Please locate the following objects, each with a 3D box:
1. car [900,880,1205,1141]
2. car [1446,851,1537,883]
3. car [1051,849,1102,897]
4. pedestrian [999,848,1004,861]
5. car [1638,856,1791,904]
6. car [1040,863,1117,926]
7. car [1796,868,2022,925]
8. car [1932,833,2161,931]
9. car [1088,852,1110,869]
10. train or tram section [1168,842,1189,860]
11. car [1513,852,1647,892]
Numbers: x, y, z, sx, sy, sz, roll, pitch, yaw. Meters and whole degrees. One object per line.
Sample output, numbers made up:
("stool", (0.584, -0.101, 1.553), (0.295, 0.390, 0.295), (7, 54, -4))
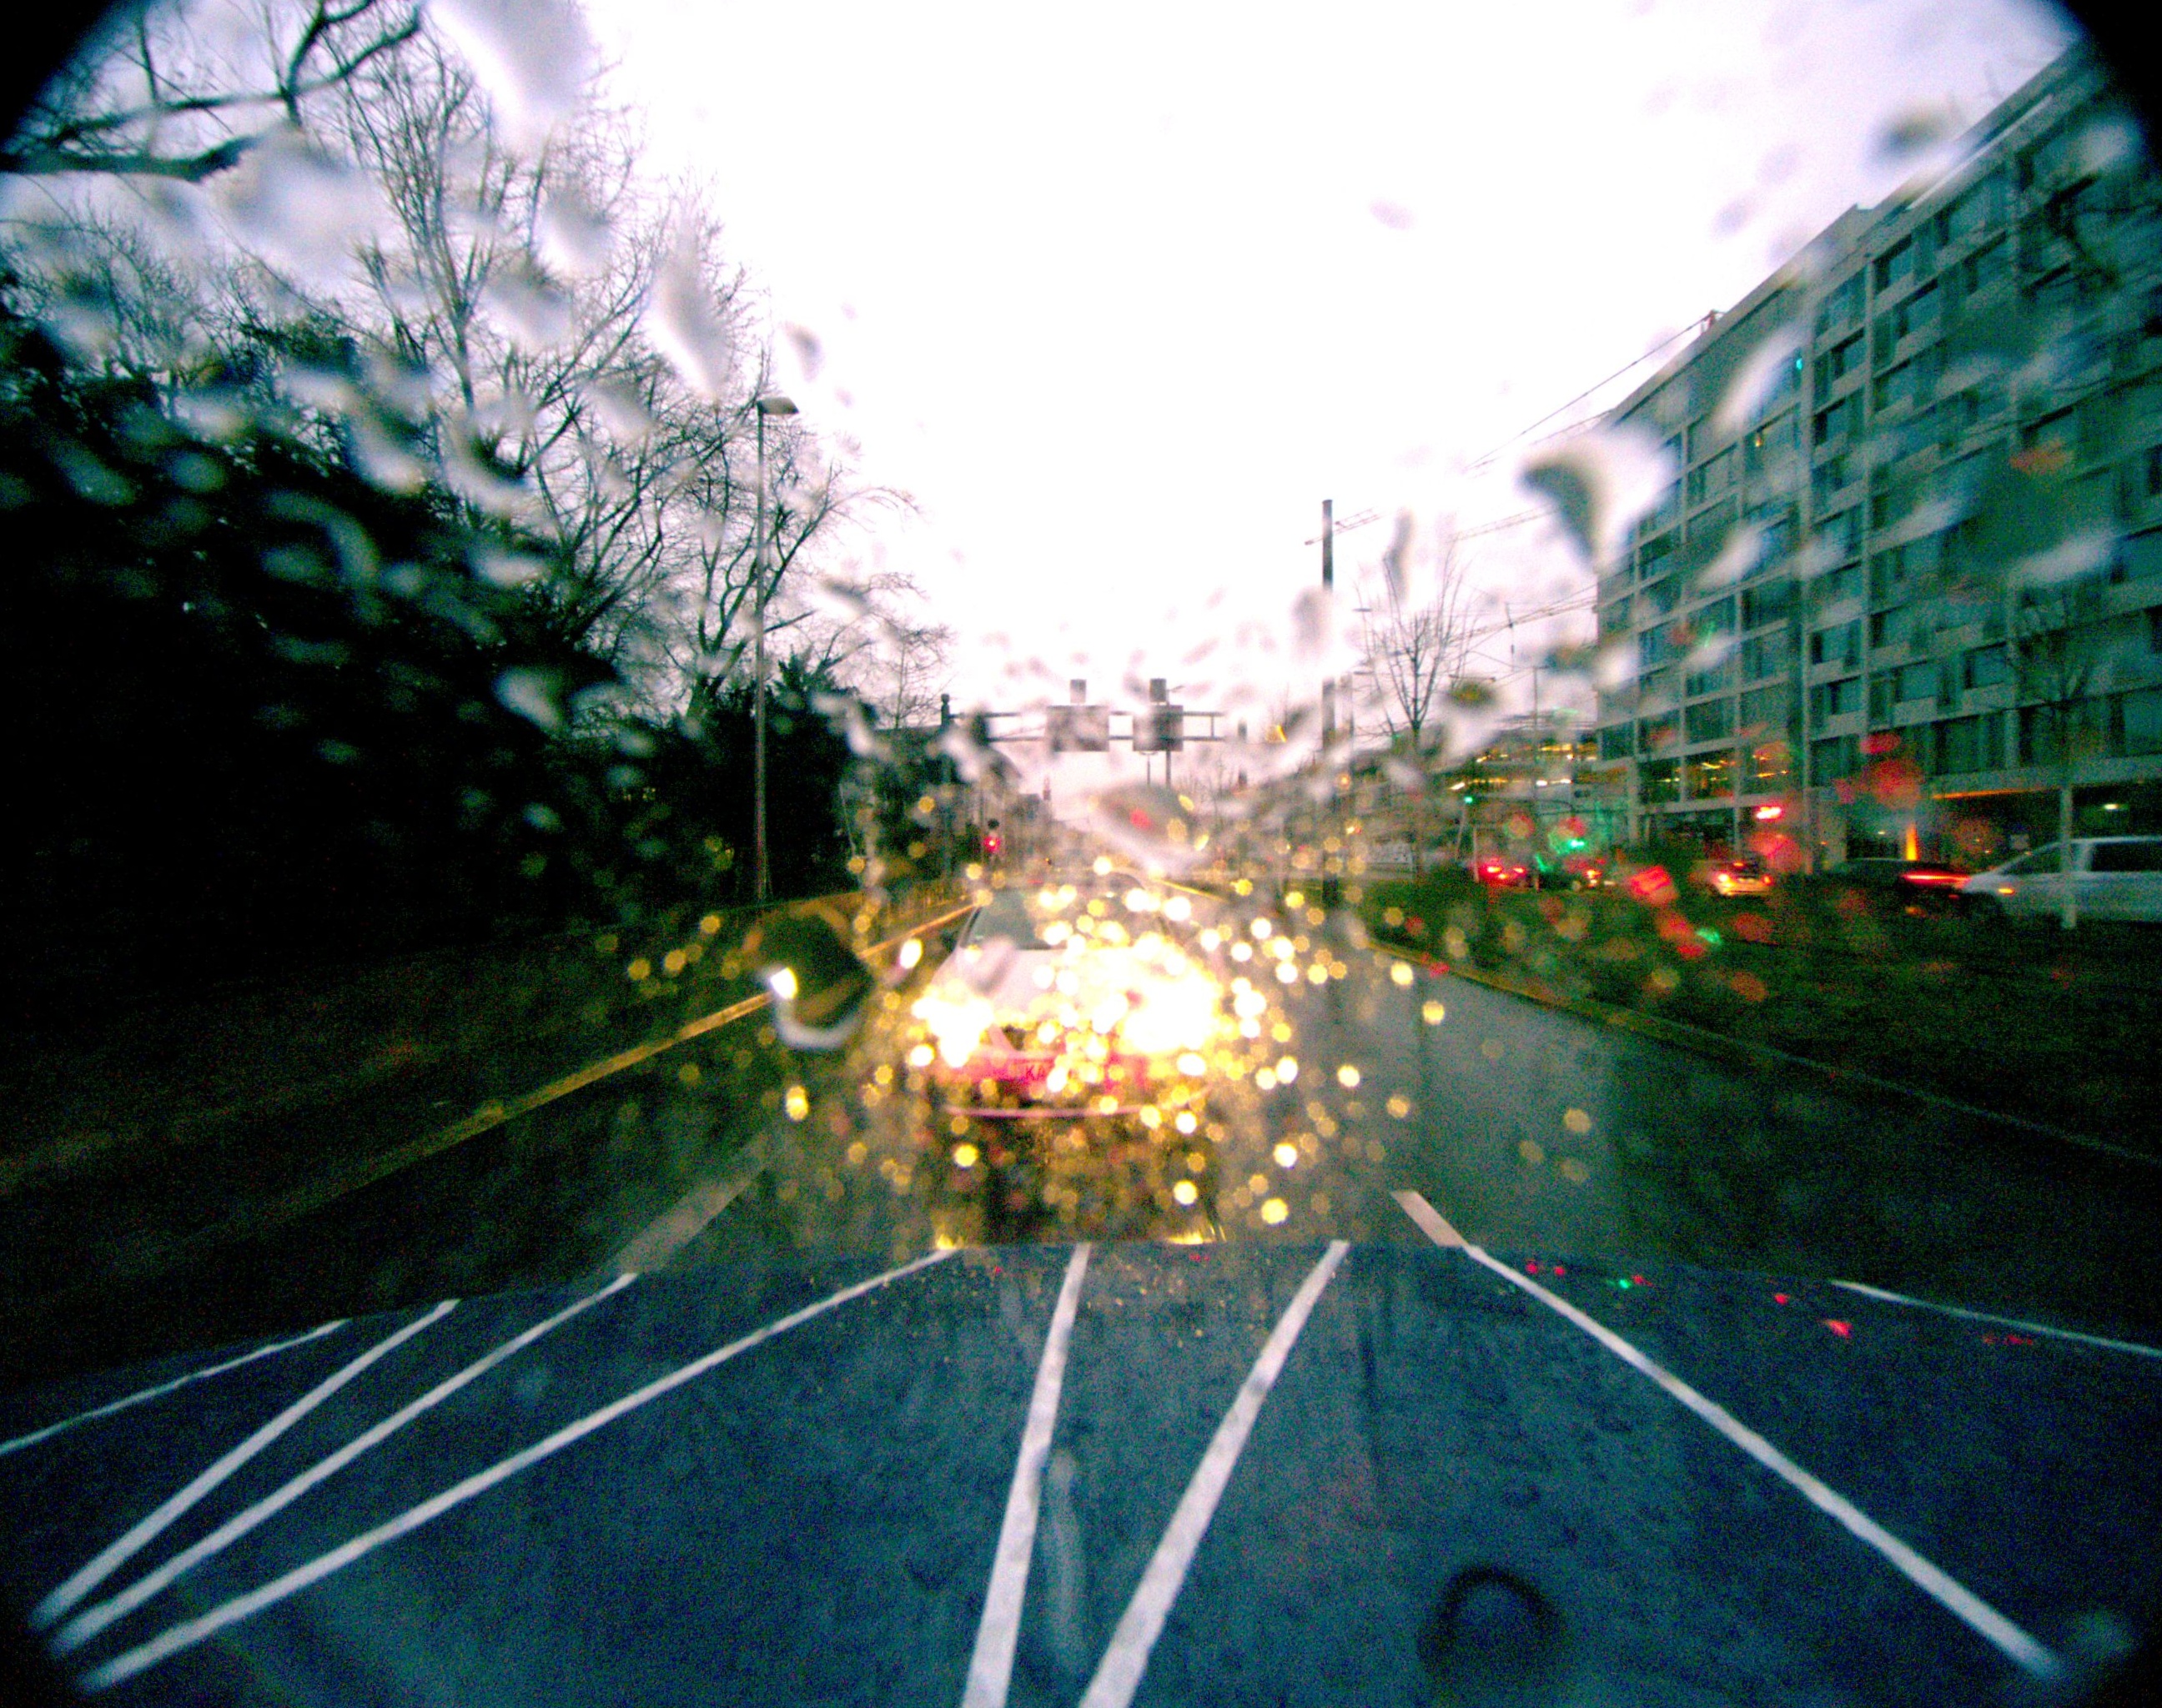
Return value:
("car", (-0.171, 1.010, 6.574), (1.798, 1.363, 3.981), (-2, 1, 0))
("car", (20.497, 0.603, 38.227), (1.998, 1.459, 5.034), (0, 0, 1))
("car", (-0.155, 0.660, 29.111), (1.781, 1.666, 3.981), (-2, 1, 0))
("pedestrian", (-9.299, 0.102, 88.786), (0.521, 1.501, 0.588), (0, 1, 1))
("car", (20.356, 0.787, 24.644), (1.901, 1.423, 3.706), (0, 0, 0))
("car", (-0.058, 0.942, 19.401), (1.728, 1.318, 3.981), (-2, 1, 0))
("car", (25.608, 1.247, 23.830), (1.900, 1.507, 4.792), (0, 0, 1))
("car", (19.825, 0.481, 14.287), (1.901, 1.709, 5.117), (0, 0, 0))
("car", (1.576, 0.571, 66.452), (1.767, 1.363, 3.981), (-2, 1, 1))
("train or tram section", (20.076, -0.555, 156.614), (2.964, 3.466, 14.267), (0, 0, 2))
("car", (20.491, 0.691, 31.471), (2.001, 1.488, 4.444), (0, 0, -15))
